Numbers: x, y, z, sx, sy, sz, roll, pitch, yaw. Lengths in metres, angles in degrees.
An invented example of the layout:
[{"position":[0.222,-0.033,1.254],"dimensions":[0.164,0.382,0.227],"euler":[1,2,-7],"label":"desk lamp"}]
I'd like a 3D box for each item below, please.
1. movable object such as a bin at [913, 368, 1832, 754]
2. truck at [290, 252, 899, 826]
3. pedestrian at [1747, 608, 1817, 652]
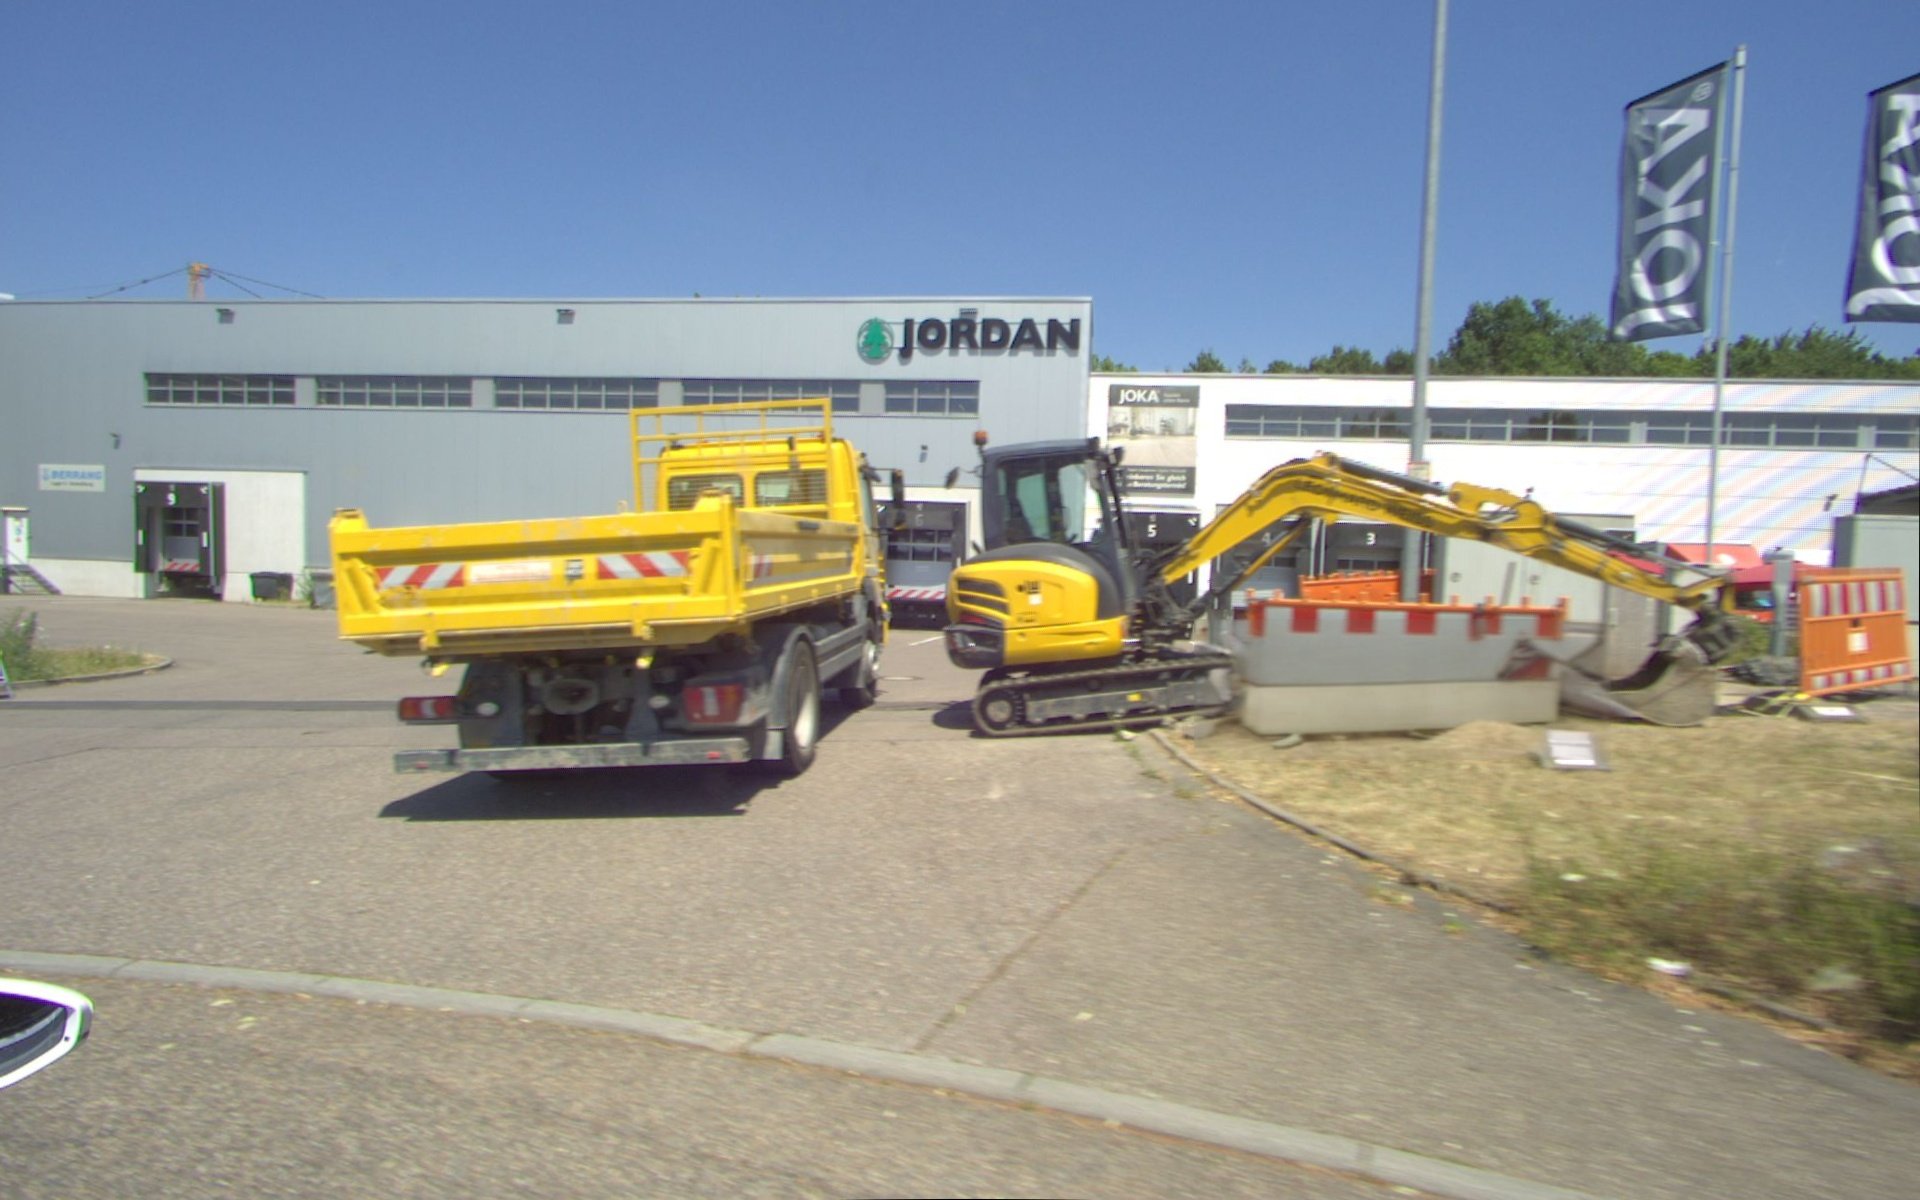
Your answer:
[{"position":[2.981,-0.257,8.517],"dimensions":[6.455,2.616,1.998],"euler":[0,1,13],"label":"movable object such as a bin"},{"position":[-2.265,-0.399,8.849],"dimensions":[2.545,3.179,6.419],"euler":[-1,2,4],"label":"truck"},{"position":[14.049,0.504,17.136],"dimensions":[0.854,0.705,0.405],"euler":[2,2,32],"label":"pedestrian"}]
